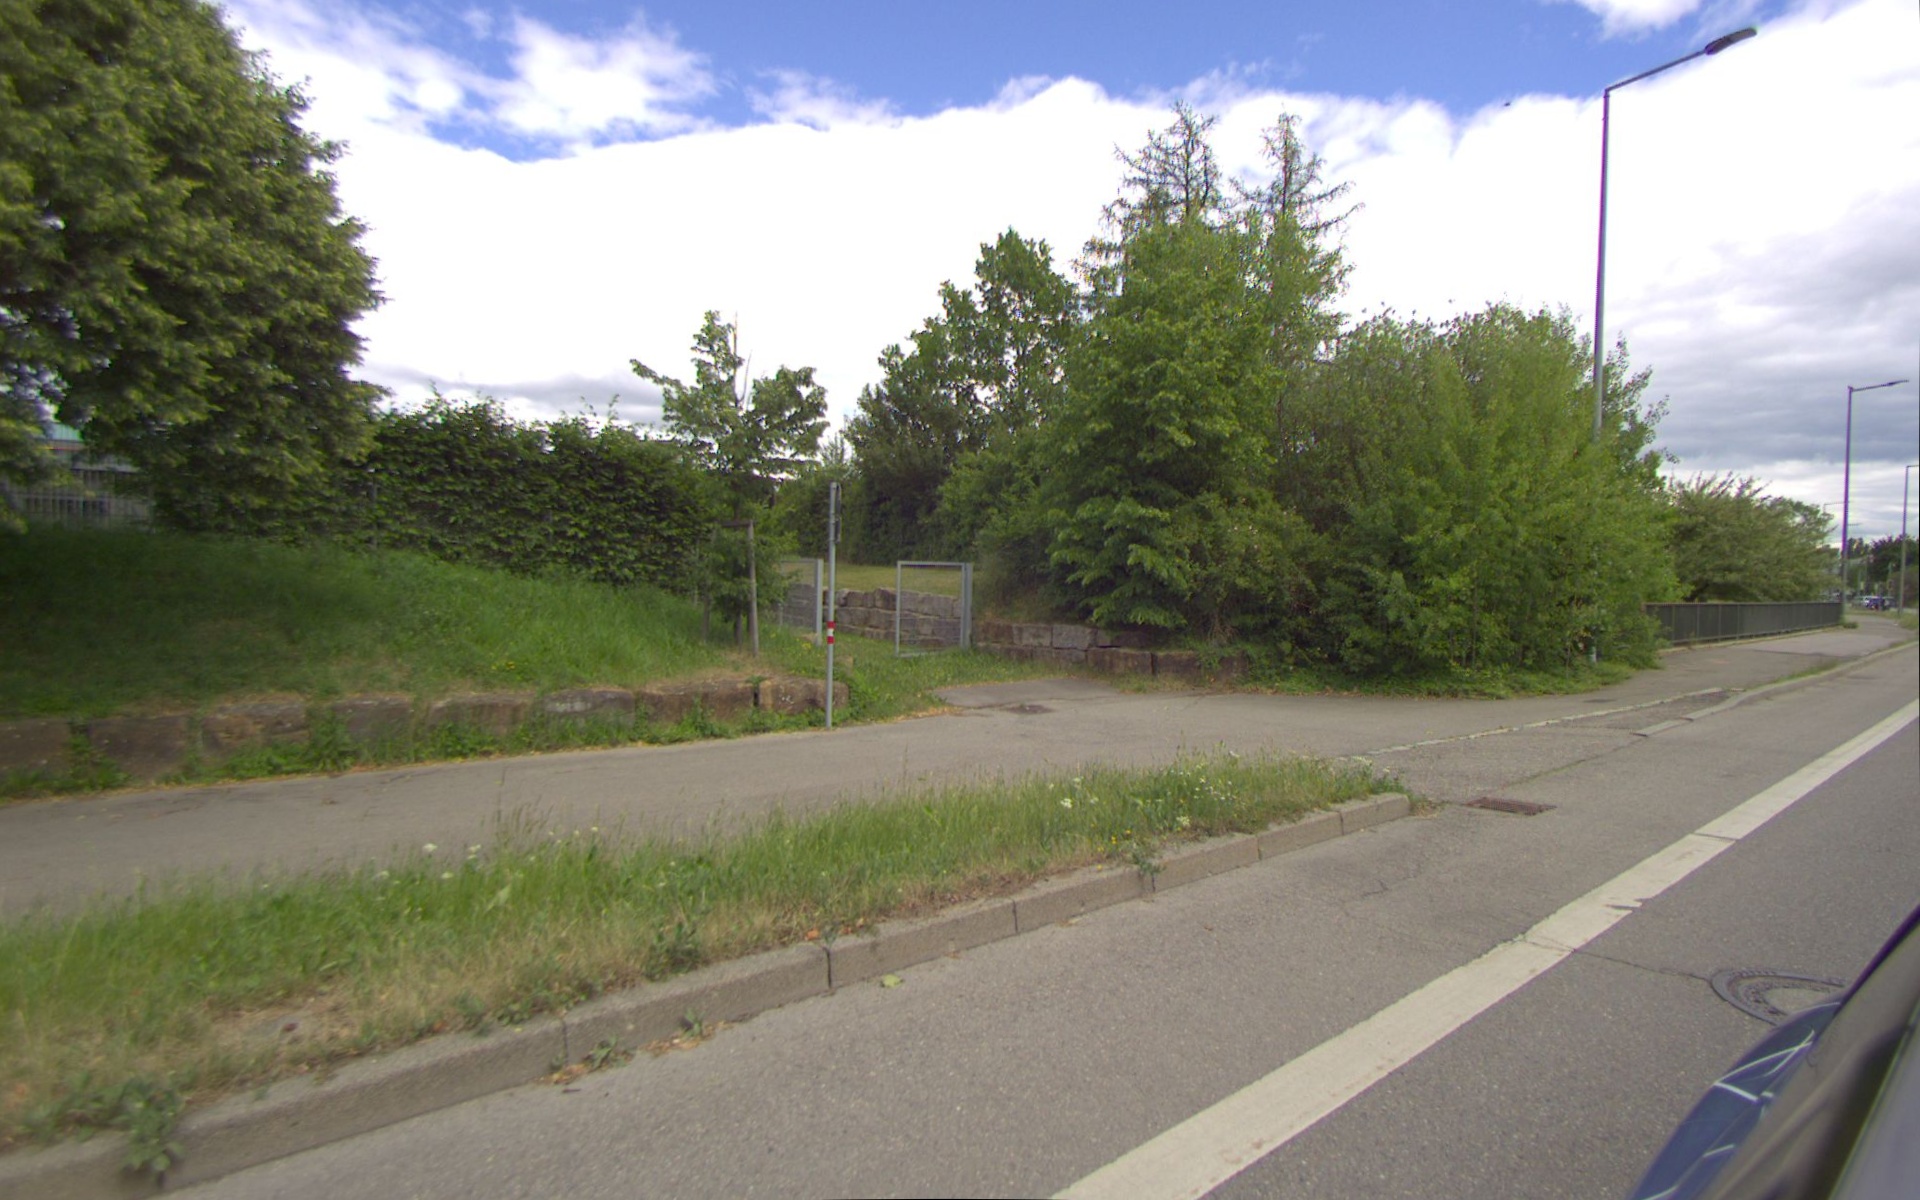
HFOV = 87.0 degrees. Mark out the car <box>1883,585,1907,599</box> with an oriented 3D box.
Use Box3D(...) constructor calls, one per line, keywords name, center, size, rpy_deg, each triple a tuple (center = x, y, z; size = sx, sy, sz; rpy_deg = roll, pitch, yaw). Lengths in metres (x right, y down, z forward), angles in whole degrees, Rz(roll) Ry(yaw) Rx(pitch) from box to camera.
Box3D(name="car", center=(106.194, -0.922, 115.025), size=(1.728, 1.459, 4.306), rpy_deg=(0, 1, 39))
